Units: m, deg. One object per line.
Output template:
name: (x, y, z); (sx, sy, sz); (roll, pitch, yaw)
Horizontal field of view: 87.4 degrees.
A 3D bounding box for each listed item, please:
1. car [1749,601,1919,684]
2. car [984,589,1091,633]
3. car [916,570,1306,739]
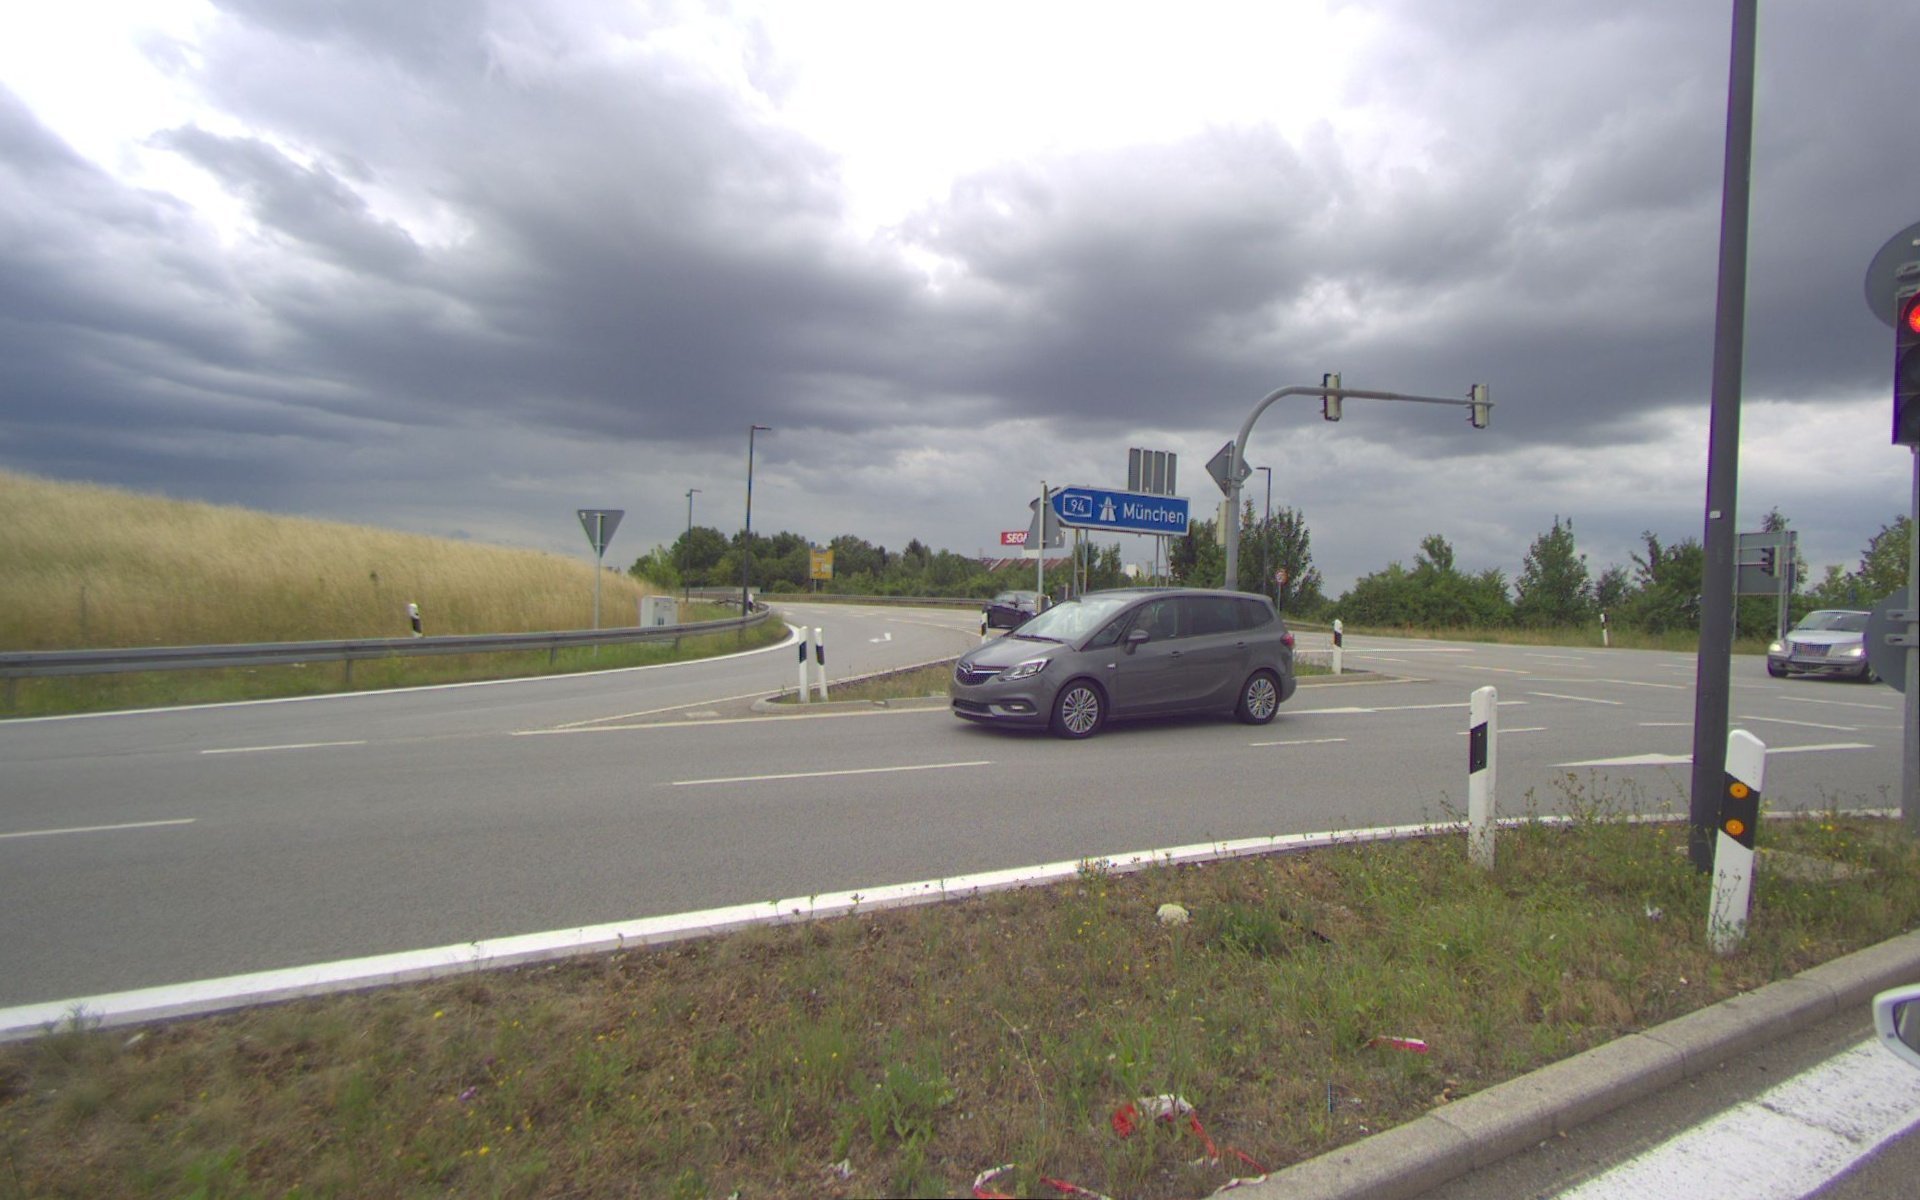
car: (18.639, 0.818, 21.106); (4.192, 1.541, 1.801); (0, 1, -30)
car: (2.663, 0.357, 35.731); (1.690, 1.429, 4.643); (2, 0, -26)
car: (1.881, 0.608, 12.184); (4.403, 1.716, 1.984); (2, 0, -30)
